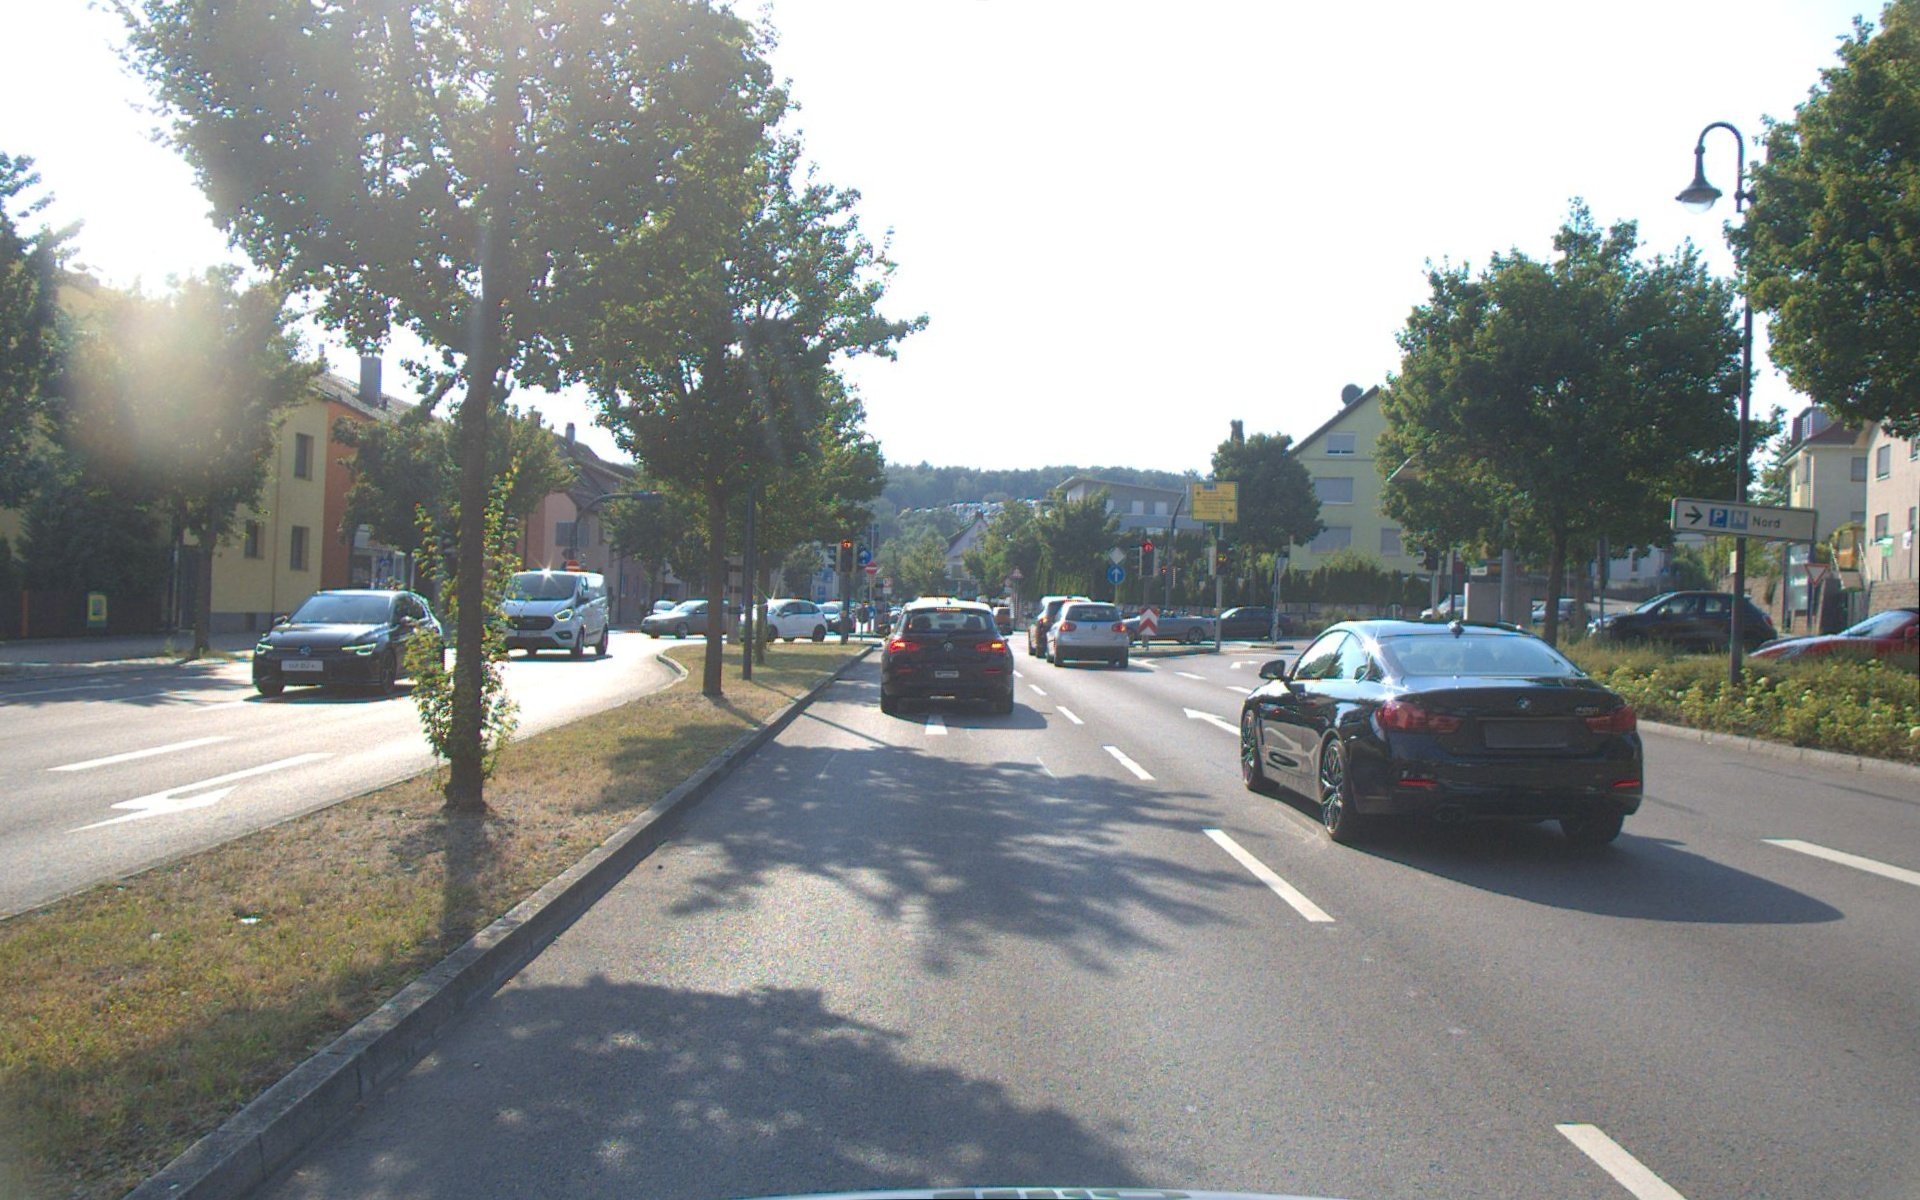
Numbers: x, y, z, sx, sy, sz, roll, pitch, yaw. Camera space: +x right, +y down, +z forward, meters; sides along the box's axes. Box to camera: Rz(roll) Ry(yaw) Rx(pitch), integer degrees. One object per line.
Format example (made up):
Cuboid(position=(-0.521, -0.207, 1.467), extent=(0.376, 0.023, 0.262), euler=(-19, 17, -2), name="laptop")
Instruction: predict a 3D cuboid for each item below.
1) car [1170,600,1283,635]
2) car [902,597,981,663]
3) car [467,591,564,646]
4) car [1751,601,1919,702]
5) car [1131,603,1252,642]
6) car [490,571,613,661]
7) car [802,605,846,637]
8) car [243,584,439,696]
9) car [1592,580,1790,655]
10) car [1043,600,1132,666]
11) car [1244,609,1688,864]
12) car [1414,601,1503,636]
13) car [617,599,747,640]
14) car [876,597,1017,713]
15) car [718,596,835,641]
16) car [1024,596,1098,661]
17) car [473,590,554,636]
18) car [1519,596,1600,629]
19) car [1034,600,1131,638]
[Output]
Cuboid(position=(11.495, 0.742, 71.486), extent=(4.539, 1.446, 1.847), euler=(1, 0, -5), name="car")
Cuboid(position=(-0.425, 0.682, 39.599), extent=(1.779, 1.476, 4.241), euler=(1, 0, 0), name="car")
Cuboid(position=(-13.054, 0.519, 48.833), extent=(1.770, 1.523, 4.244), euler=(1, 0, -1), name="car")
Cuboid(position=(13.072, 0.692, 22.409), extent=(3.902, 1.294, 1.855), euler=(1, 0, 11), name="car")
Cuboid(position=(9.168, 0.892, 65.574), extent=(4.384, 1.372, 1.782), euler=(1, 3, -11), name="car")
Cuboid(position=(-9.573, 0.358, 39.143), extent=(1.786, 1.957, 4.943), euler=(1, 0, -2), name="car")
Cuboid(position=(-6.563, 1.012, 80.140), extent=(1.730, 1.484, 4.000), euler=(1, 0, 0), name="car")
Cuboid(position=(-8.879, 0.541, 24.069), extent=(1.735, 1.476, 4.101), euler=(1, 0, -7), name="car")
Cuboid(position=(16.972, 0.388, 38.581), extent=(3.902, 1.636, 1.855), euler=(1, 0, 11), name="car")
Cuboid(position=(2.971, 0.746, 39.348), extent=(1.779, 1.471, 4.346), euler=(1, 0, 0), name="car")
Cuboid(position=(3.266, 0.791, 11.620), extent=(1.779, 1.413, 4.346), euler=(1, 0, 0), name="car")
Cuboid(position=(22.914, 0.851, 75.973), extent=(4.620, 1.511, 1.839), euler=(1, 0, -43), name="car")
Cuboid(position=(-10.631, 0.764, 63.320), extent=(4.655, 1.488, 1.672), euler=(1, 0, -35), name="car")
Cuboid(position=(-0.173, 0.694, 22.949), extent=(1.754, 1.439, 4.346), euler=(1, 0, 0), name="car")
Cuboid(position=(-6.411, 0.646, 58.068), extent=(1.774, 1.523, 3.934), euler=(1, 0, 40), name="car")
Cuboid(position=(2.753, 0.745, 45.877), extent=(1.779, 1.695, 4.346), euler=(1, 0, 0), name="car")
Cuboid(position=(-16.882, 0.480, 62.727), extent=(1.805, 1.579, 4.000), euler=(3, 0, 1), name="car")
Cuboid(position=(26.489, 0.574, 73.077), extent=(4.154, 1.411, 1.625), euler=(1, 0, -42), name="car")
Cuboid(position=(5.751, 0.897, 77.854), extent=(1.883, 1.732, 4.449), euler=(0, 0, -44), name="car")
